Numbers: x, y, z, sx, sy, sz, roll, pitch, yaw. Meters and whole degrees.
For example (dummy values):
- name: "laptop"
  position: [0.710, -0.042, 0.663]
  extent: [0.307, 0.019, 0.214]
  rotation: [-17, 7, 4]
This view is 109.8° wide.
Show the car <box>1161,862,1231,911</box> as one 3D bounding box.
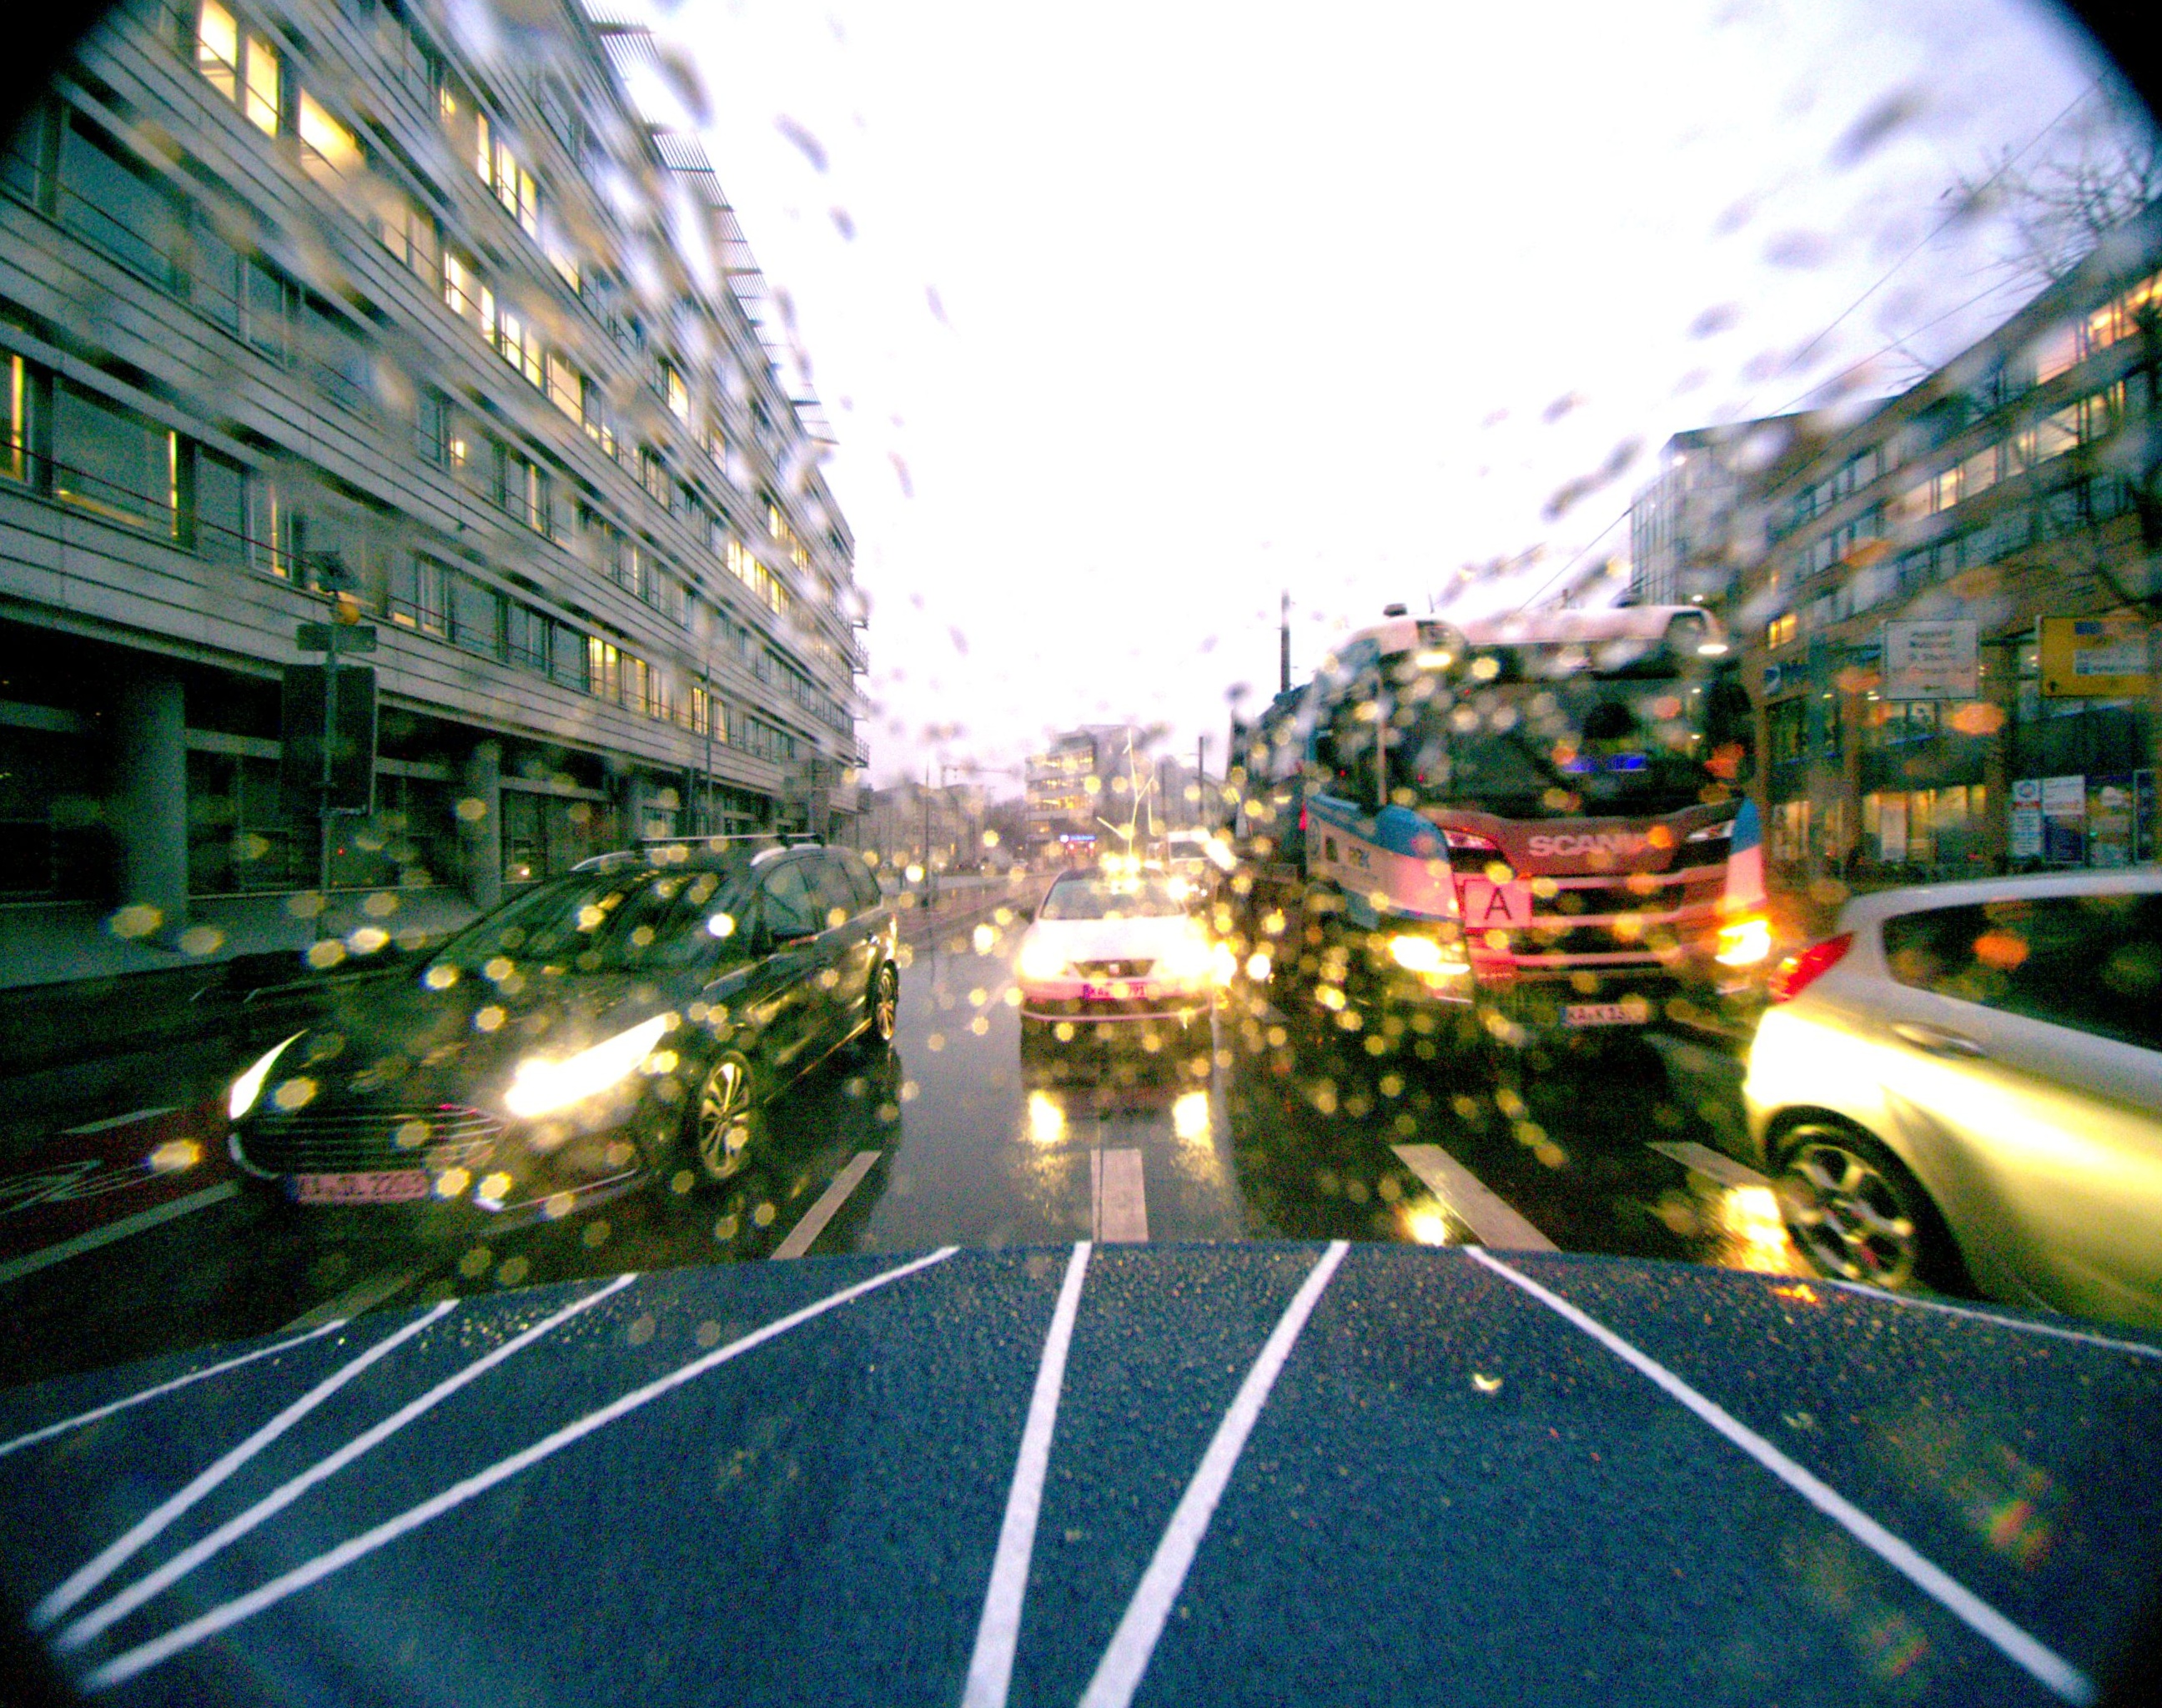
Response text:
- name: "car"
  position: [3.484, 0.945, 23.711]
  extent: [1.759, 1.337, 4.057]
  rotation: [-1, 0, 3]

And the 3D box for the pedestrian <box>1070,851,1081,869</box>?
- name: "pedestrian"
  position: [-0.630, 0.694, 89.226]
  extent: [1.118, 2.002, 1.034]
  rotation: [0, 1, 15]

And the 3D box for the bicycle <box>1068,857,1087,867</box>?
- name: "bicycle"
  position: [-0.426, 0.946, 93.900]
  extent: [2.203, 1.182, 0.668]
  rotation: [0, 1, 3]

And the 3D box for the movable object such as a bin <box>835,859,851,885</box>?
- name: "movable object such as a bin"
  position: [-13.324, 0.995, 42.585]
  extent: [0.666, 1.420, 0.840]
  rotation: [-1, 1, -2]

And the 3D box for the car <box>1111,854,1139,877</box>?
- name: "car"
  position: [3.750, 0.966, 65.625]
  extent: [2.169, 1.744, 4.540]
  rotation: [0, 2, 0]

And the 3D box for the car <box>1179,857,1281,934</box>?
- name: "car"
  position: [3.377, 0.874, 17.875]
  extent: [1.634, 1.515, 3.941]
  rotation: [-1, 1, 0]

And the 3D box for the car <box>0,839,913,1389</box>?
- name: "car"
  position: [-2.653, 0.878, 4.877]
  extent: [1.887, 1.800, 4.671]
  rotation: [-2, 0, 2]

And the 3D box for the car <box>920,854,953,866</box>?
- name: "car"
  position: [-21.525, 0.934, 112.908]
  extent: [4.368, 1.750, 2.002]
  rotation: [-1, 0, 16]

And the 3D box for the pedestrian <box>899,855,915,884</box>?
- name: "pedestrian"
  position: [-10.266, 0.910, 44.854]
  extent: [0.747, 1.692, 0.969]
  rotation: [2, 0, -3]

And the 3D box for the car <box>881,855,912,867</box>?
- name: "car"
  position: [-27.966, 1.028, 115.263]
  extent: [3.997, 1.663, 2.002]
  rotation: [-1, 0, 17]

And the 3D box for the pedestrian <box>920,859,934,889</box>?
- name: "pedestrian"
  position: [-8.982, 1.166, 44.213]
  extent: [0.651, 1.692, 0.884]
  rotation: [1, 1, -3]

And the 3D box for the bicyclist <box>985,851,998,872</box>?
- name: "bicyclist"
  position: [-7.395, 0.616, 62.838]
  extent: [0.808, 1.787, 0.670]
  rotation: [-1, 1, -36]

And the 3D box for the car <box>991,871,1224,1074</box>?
- name: "car"
  position: [0.231, 0.961, 7.847]
  extent: [1.782, 1.464, 3.943]
  rotation: [-1, 0, 1]

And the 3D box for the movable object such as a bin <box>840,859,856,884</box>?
- name: "movable object such as a bin"
  position: [-13.320, 1.010, 43.482]
  extent: [0.666, 1.420, 0.840]
  rotation: [-1, 1, -2]

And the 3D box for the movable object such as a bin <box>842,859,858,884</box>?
- name: "movable object such as a bin"
  position: [-13.485, 1.016, 44.411]
  extent: [0.666, 1.468, 0.840]
  rotation: [-1, 1, -2]

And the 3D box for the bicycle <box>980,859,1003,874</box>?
- name: "bicycle"
  position: [-7.422, 1.002, 62.838]
  extent: [1.764, 1.191, 0.680]
  rotation: [-1, 1, -36]

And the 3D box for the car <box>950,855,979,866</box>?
- name: "car"
  position: [-17.047, 0.902, 111.423]
  extent: [3.759, 1.528, 1.782]
  rotation: [-1, 0, 17]

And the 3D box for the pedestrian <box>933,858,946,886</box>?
- name: "pedestrian"
  position: [-8.245, 1.046, 44.385]
  extent: [0.616, 1.659, 0.884]
  rotation: [1, 1, -3]

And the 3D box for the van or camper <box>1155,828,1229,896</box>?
- name: "van or camper"
  position: [4.461, 0.281, 31.469]
  extent: [2.153, 2.517, 5.898]
  rotation: [-1, 0, 0]

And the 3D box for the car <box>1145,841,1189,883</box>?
- name: "car"
  position: [6.134, 0.513, 54.761]
  extent: [2.130, 2.847, 5.811]
  rotation: [-1, 0, -4]

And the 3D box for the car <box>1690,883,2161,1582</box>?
- name: "car"
  position: [3.167, 0.856, 0.962]
  extent: [1.709, 1.439, 4.001]
  rotation: [-1, 0, 3]

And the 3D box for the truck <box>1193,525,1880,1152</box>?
- name: "truck"
  position: [3.212, -0.098, 8.174]
  extent: [2.846, 3.612, 7.526]
  rotation: [-1, 0, 0]

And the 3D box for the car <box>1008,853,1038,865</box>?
- name: "car"
  position: [-8.256, 0.714, 108.697]
  extent: [3.918, 1.699, 1.782]
  rotation: [-1, 0, 14]
